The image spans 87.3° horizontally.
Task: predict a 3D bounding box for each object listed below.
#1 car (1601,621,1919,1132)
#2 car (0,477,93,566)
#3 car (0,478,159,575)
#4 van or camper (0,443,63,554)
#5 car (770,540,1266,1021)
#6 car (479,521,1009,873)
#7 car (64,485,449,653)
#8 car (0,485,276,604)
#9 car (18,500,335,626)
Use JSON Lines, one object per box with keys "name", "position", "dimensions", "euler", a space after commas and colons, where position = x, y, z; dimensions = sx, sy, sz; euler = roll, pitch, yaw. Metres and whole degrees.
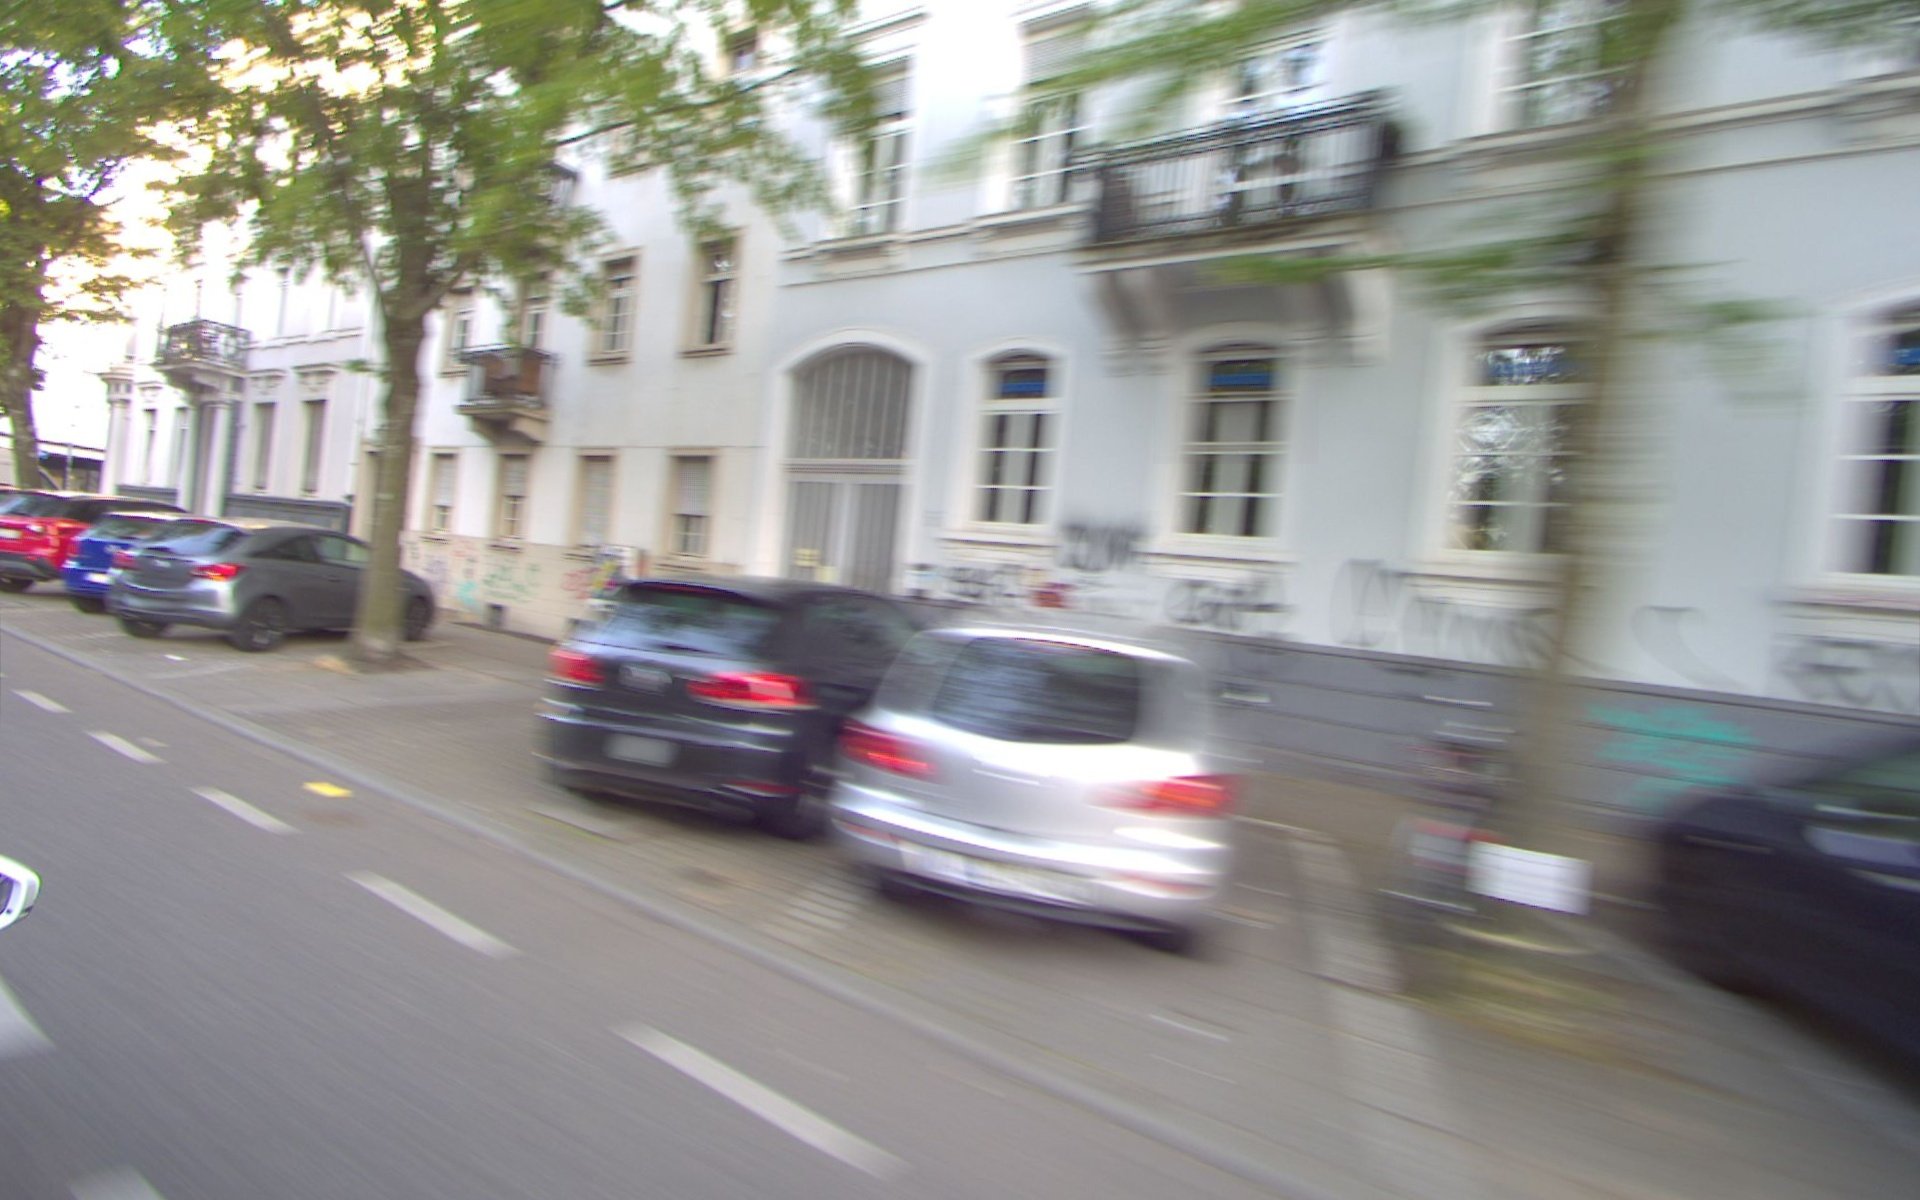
{"name": "car", "position": [4.171, 1.057, 3.181], "dimensions": [1.805, 1.625, 3.952], "euler": [5, 2, 4]}
{"name": "car", "position": [-20.693, -1.710, 20.766], "dimensions": [1.805, 1.789, 3.952], "euler": [6, 2, 9]}
{"name": "car", "position": [-18.625, -1.477, 20.030], "dimensions": [1.805, 1.789, 3.952], "euler": [6, 2, 9]}
{"name": "van or camper", "position": [-23.462, -2.441, 22.297], "dimensions": [2.047, 2.565, 5.544], "euler": [5, 2, 1]}
{"name": "car", "position": [0.727, 0.690, 5.851], "dimensions": [1.806, 1.624, 3.953], "euler": [6, 1, 18]}
{"name": "car", "position": [-1.135, 0.471, 7.170], "dimensions": [1.806, 1.625, 3.951], "euler": [6, 2, 19]}
{"name": "car", "position": [-8.514, -0.322, 12.691], "dimensions": [1.805, 1.624, 3.955], "euler": [5, 0, 4]}
{"name": "car", "position": [-13.565, -0.835, 16.287], "dimensions": [1.805, 1.624, 3.955], "euler": [6, 1, 9]}
{"name": "car", "position": [-11.097, -0.475, 14.618], "dimensions": [1.628, 1.463, 3.650], "euler": [5, 1, 1]}
